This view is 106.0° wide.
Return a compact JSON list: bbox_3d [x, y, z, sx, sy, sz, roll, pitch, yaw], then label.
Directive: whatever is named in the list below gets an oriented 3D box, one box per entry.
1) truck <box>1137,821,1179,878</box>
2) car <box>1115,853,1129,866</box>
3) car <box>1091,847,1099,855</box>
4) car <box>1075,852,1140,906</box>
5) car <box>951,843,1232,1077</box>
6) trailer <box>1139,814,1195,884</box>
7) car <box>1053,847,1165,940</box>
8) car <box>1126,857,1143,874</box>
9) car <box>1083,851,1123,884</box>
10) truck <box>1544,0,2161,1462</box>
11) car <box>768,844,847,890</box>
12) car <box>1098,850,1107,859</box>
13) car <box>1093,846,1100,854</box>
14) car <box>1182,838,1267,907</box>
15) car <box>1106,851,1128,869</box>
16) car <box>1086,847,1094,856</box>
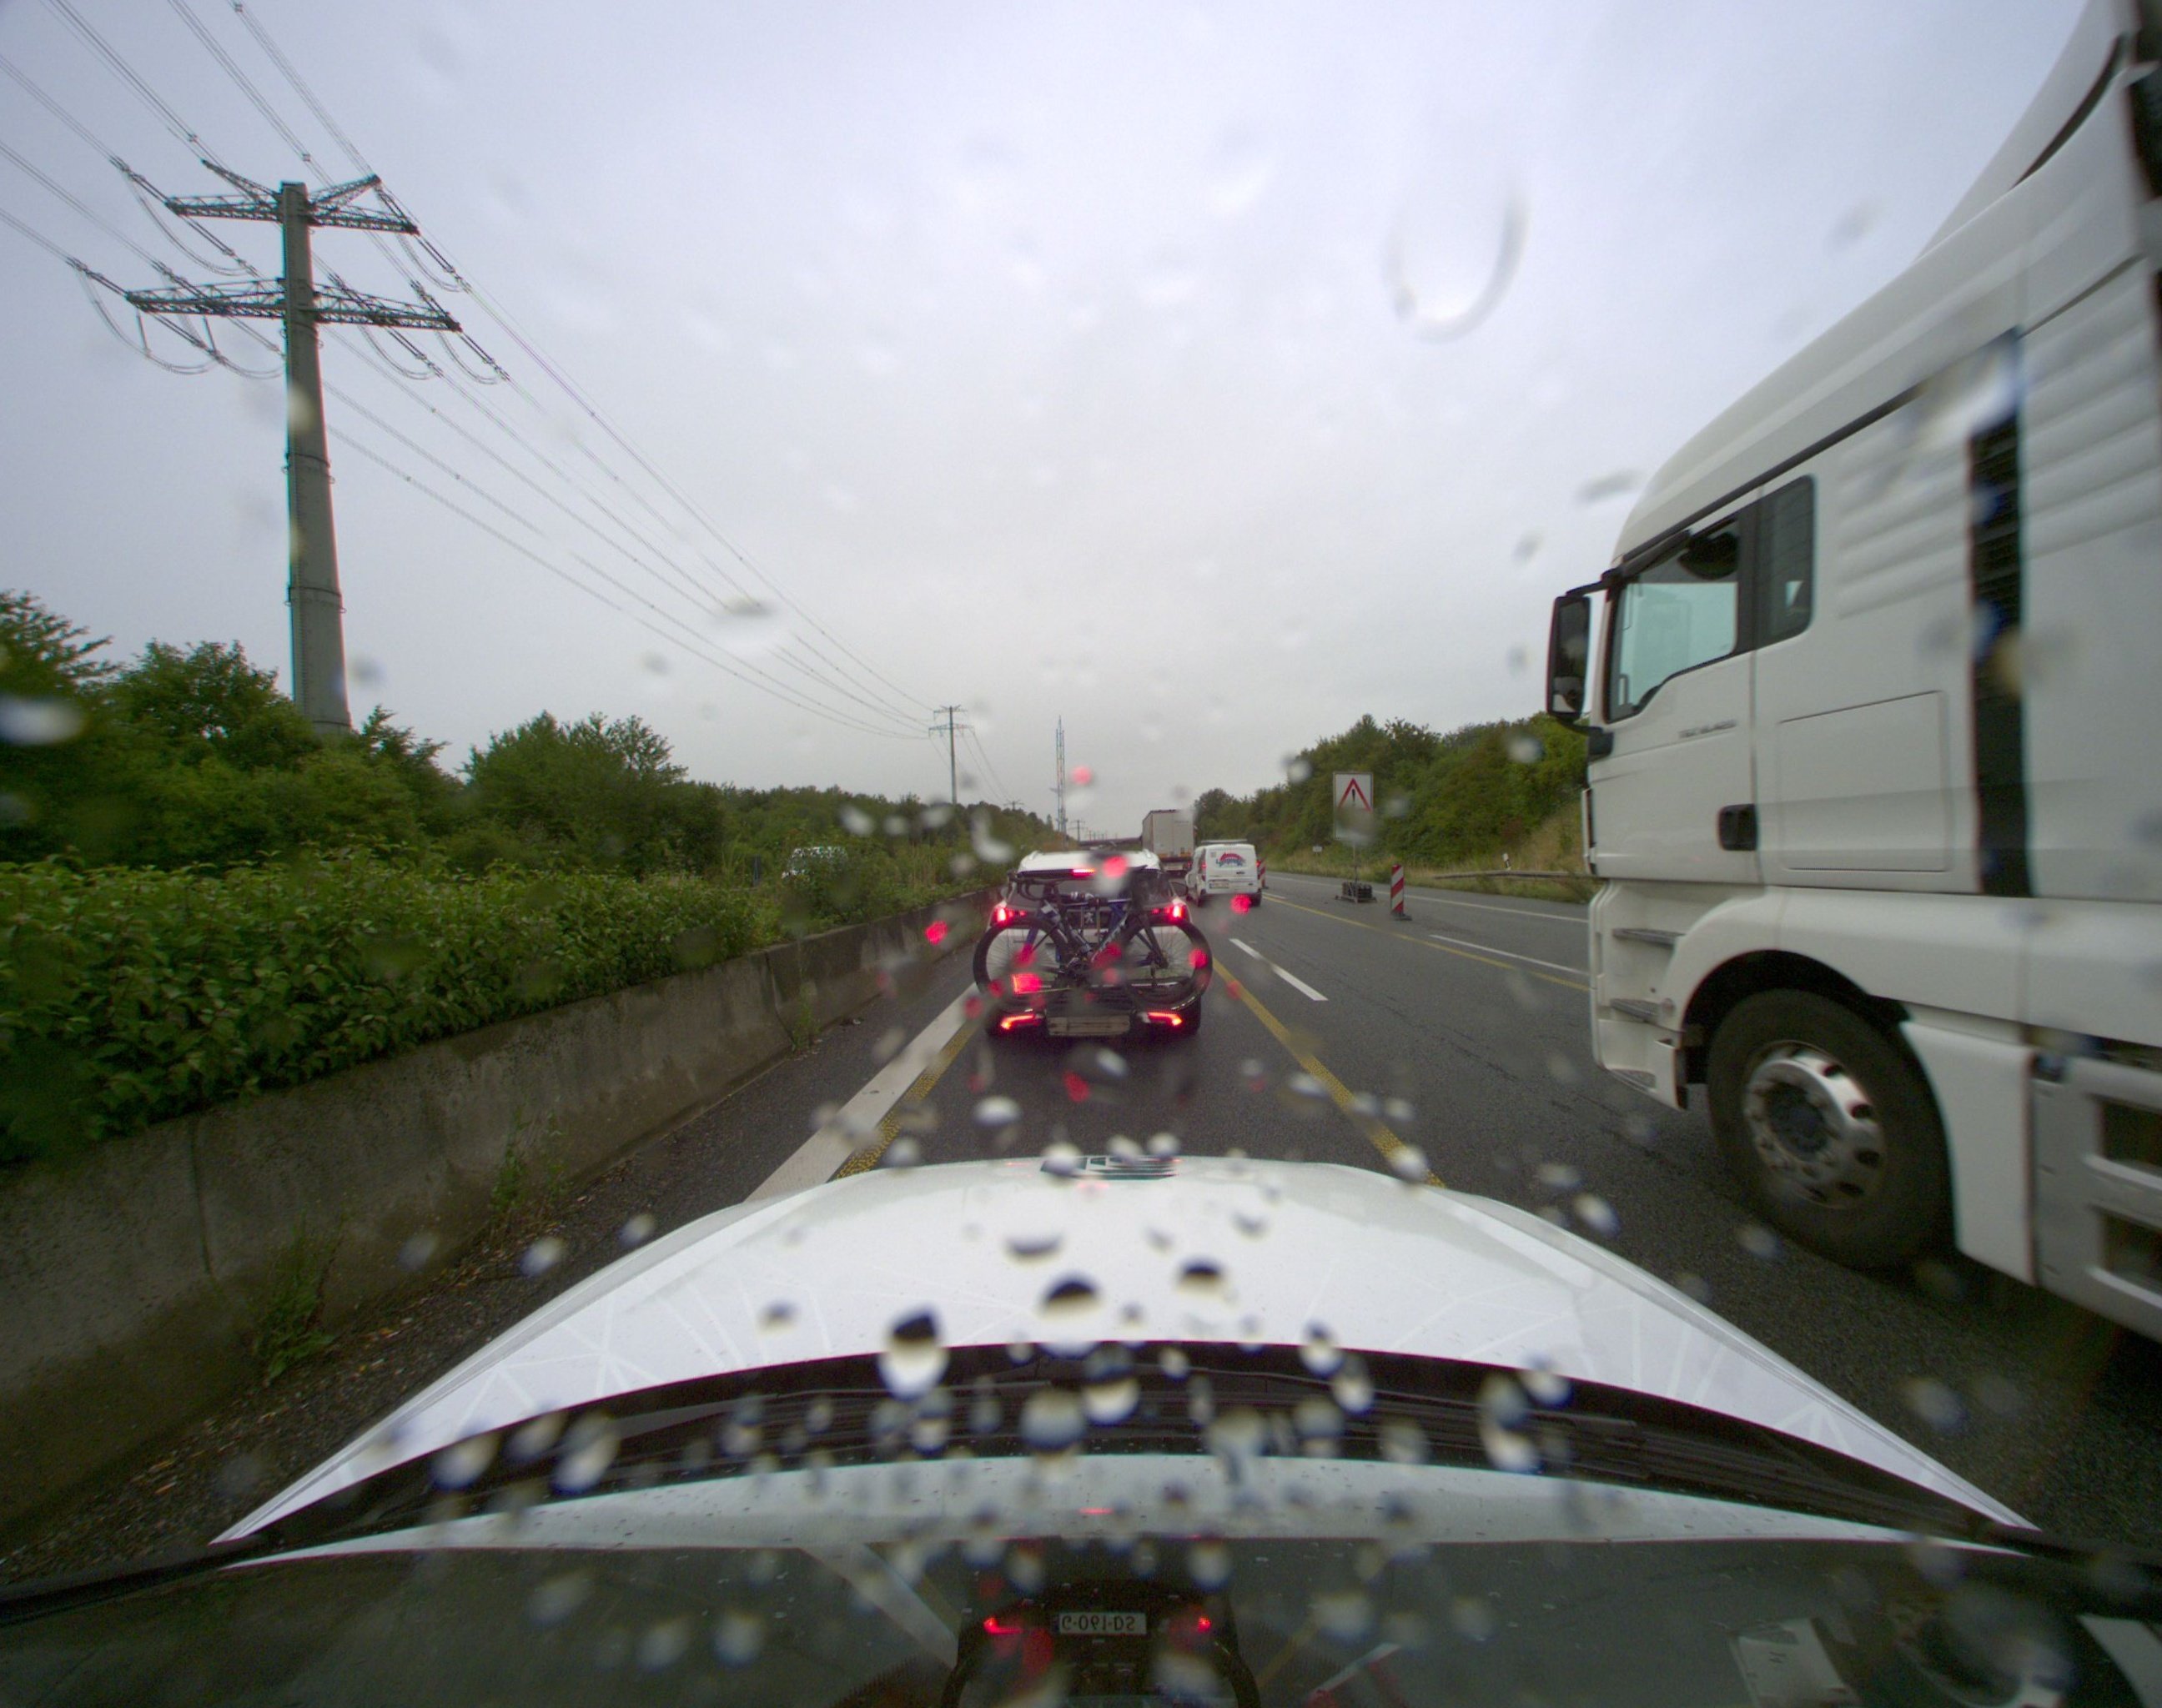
[{"bbox_3d":[5.737,-0.322,61.387,2.650,4.076,6.542,-1,0,2],"label":"truck"},{"bbox_3d":[6.717,0.931,133.912,2.140,1.973,4.002,-1,1,2],"label":"car"},{"bbox_3d":[3.421,-0.754,203.431,1.924,1.910,4.002,-1,1,2],"label":"car"},{"bbox_3d":[0.827,0.724,25.576,1.843,1.531,4.002,-1,0,2],"label":"car"},{"bbox_3d":[0.147,0.706,7.813,1.843,1.531,4.770,-1,0,2],"label":"car"},{"bbox_3d":[5.504,-0.293,54.623,2.682,4.076,13.639,-1,0,2],"label":"trailer"},{"bbox_3d":[0.532,0.661,15.623,1.843,1.531,4.002,-1,0,2],"label":"car"},{"bbox_3d":[6.815,1.478,104.183,2.102,1.973,4.002,-1,1,2],"label":"car"},{"bbox_3d":[1.094,0.641,40.308,1.843,1.531,4.002,-1,0,2],"label":"car"},{"bbox_3d":[3.836,-0.667,1.587,2.696,4.138,5.693,-1,0,2],"label":"truck"},{"bbox_3d":[-14.252,0.643,42.793,2.172,2.265,5.206,-1,0,2],"label":"car"},{"bbox_3d":[4.898,0.106,184.393,1.924,1.973,4.002,-1,1,2],"label":"car"},{"bbox_3d":[4.099,-1.028,216.319,1.924,1.973,4.002,-1,1,2],"label":"car"},{"bbox_3d":[4.174,0.507,24.397,1.822,1.839,4.657,-1,0,2],"label":"car"},{"bbox_3d":[3.135,0.498,71.526,1.843,1.531,4.002,-1,0,2],"label":"car"},{"bbox_3d":[2.590,-0.799,243.078,2.249,2.424,4.002,-1,1,2],"label":"car"}]
